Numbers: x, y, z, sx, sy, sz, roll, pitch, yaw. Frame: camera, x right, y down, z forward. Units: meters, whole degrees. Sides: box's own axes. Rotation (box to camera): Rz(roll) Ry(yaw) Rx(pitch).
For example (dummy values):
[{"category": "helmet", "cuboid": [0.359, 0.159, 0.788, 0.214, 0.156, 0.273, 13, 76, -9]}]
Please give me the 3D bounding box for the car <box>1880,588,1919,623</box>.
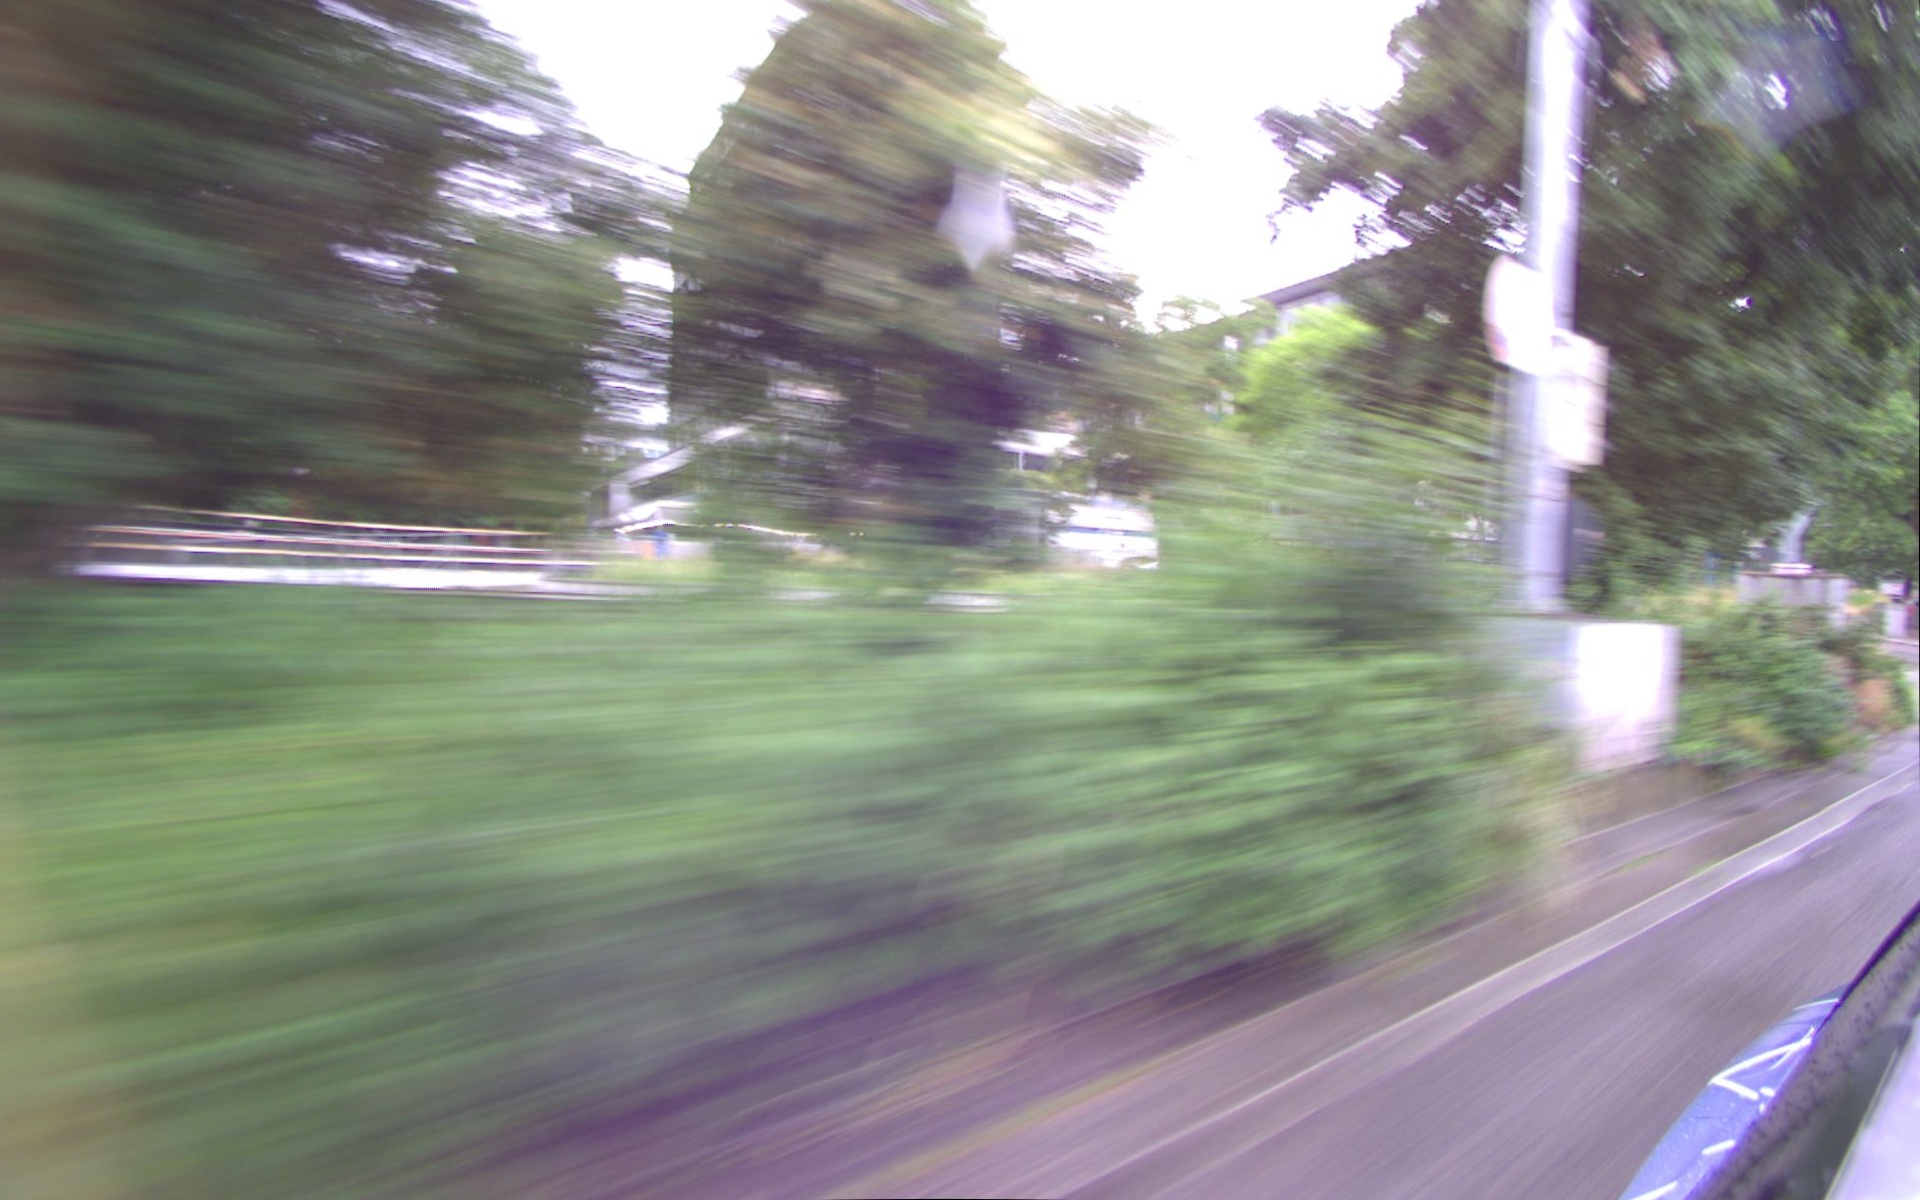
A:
[{"category": "car", "cuboid": [43.306, 0.301, 44.833, 1.672, 1.473, 3.993, 2, 2, 7]}]
